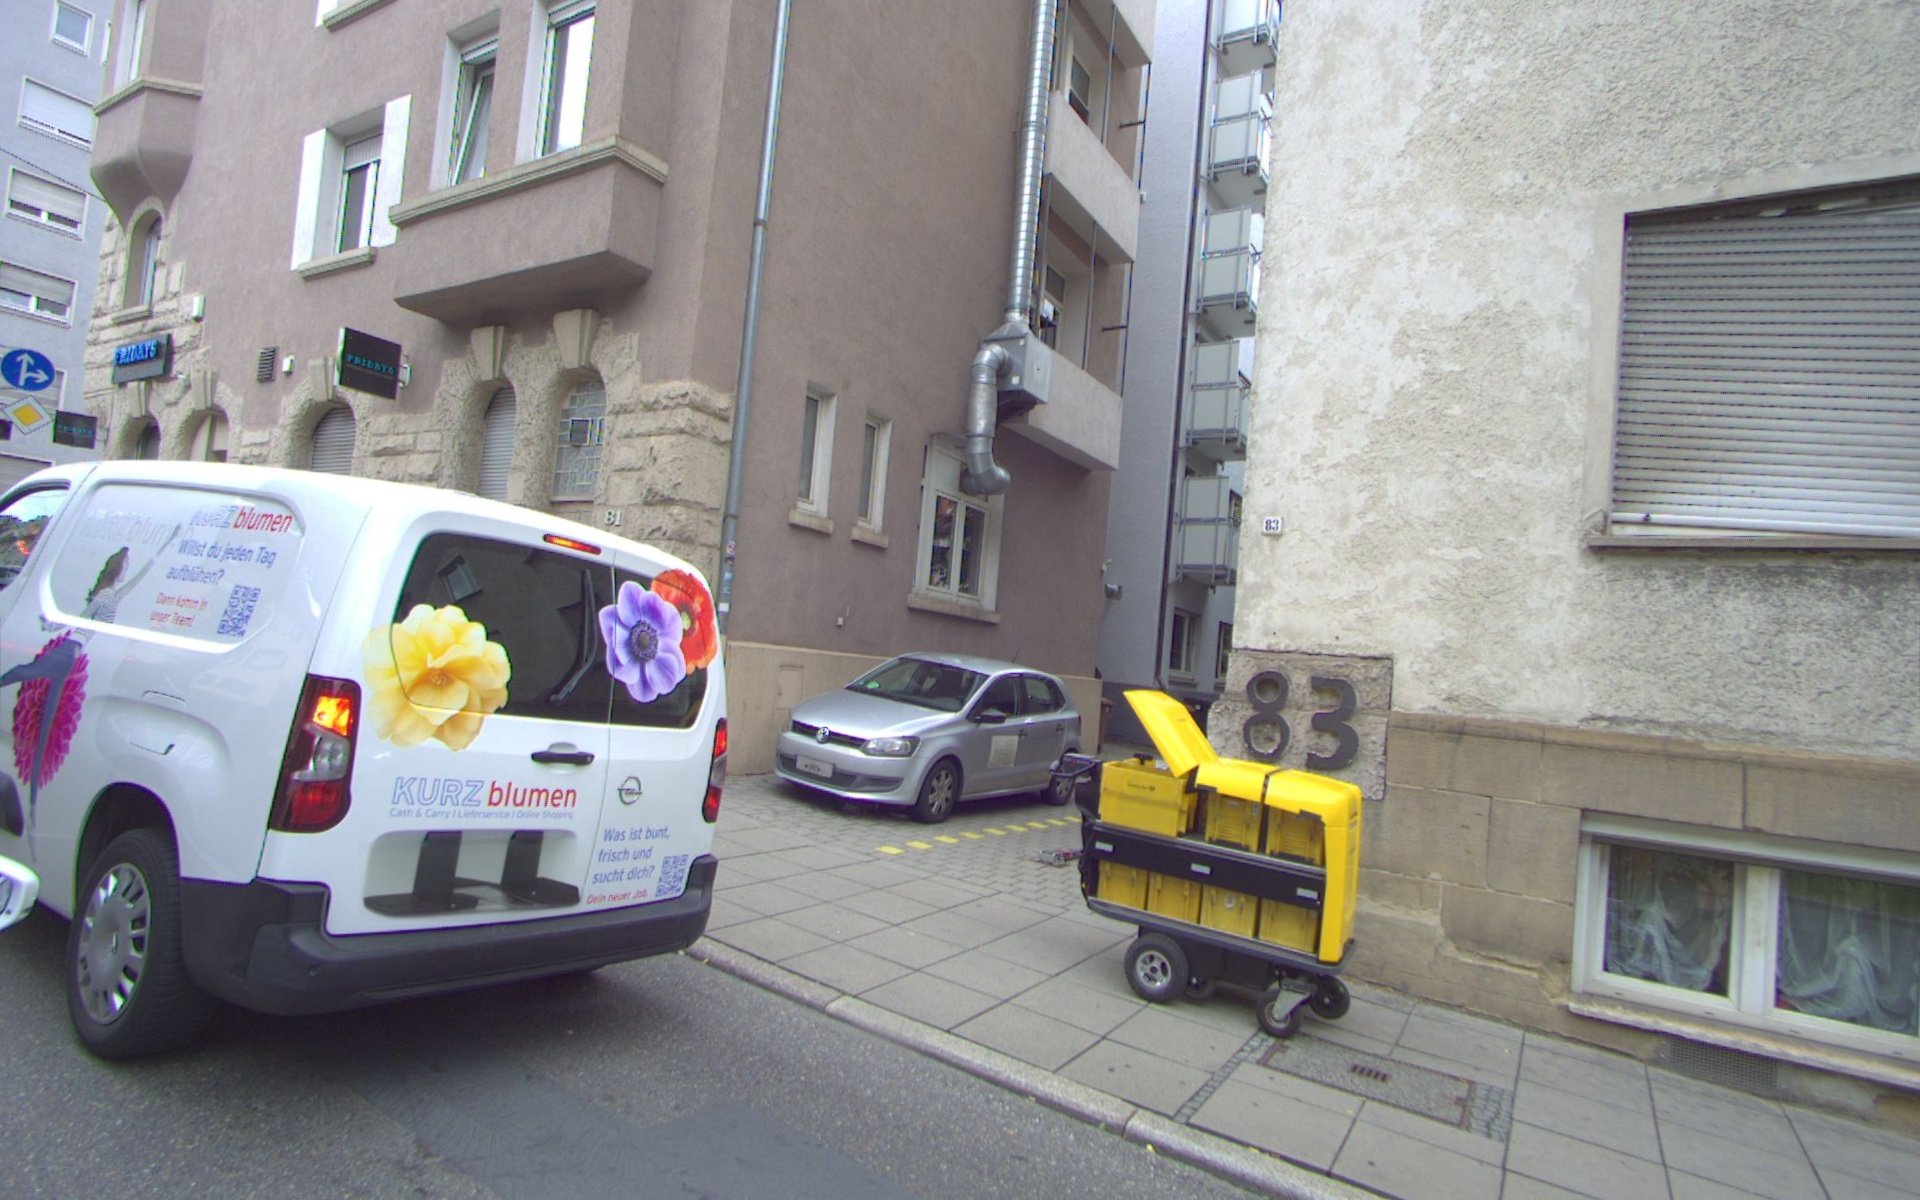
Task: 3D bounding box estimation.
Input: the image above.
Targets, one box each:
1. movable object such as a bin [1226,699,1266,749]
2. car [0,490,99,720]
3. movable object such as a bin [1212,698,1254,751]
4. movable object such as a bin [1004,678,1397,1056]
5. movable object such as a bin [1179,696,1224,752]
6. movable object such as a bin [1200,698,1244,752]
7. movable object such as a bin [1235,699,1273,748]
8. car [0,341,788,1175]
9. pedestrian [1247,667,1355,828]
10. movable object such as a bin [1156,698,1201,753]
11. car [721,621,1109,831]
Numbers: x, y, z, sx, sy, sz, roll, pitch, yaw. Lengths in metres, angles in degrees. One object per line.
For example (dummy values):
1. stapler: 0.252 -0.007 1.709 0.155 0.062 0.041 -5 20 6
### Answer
1. movable object such as a bin: 6.738 2.909 23.717 0.644 1.073 0.673 7 -1 31
2. car: -8.593 -0.198 7.734 3.569 1.609 1.759 6 -5 31
3. movable object such as a bin: 6.112 2.786 22.534 0.644 1.073 0.673 7 -1 31
4. movable object such as a bin: 1.197 1.218 5.089 1.665 1.437 0.720 6 -1 31
5. movable object such as a bin: 5.058 2.587 21.049 0.644 1.073 0.572 7 -1 31
6. movable object such as a bin: 5.701 2.707 21.881 0.644 1.073 0.681 7 -1 31
7. movable object such as a bin: 7.141 2.995 24.424 0.644 1.073 0.673 7 -1 31
8. car: -3.262 0.304 4.446 4.945 1.845 1.852 4 -4 36
9. pedestrian: 3.799 1.628 11.218 0.753 1.680 0.740 6 -3 -25
10. movable object such as a bin: 4.369 2.504 20.129 0.626 0.997 0.572 7 -1 31
11. car: -0.217 1.229 10.091 1.770 1.419 3.995 9 -1 33
